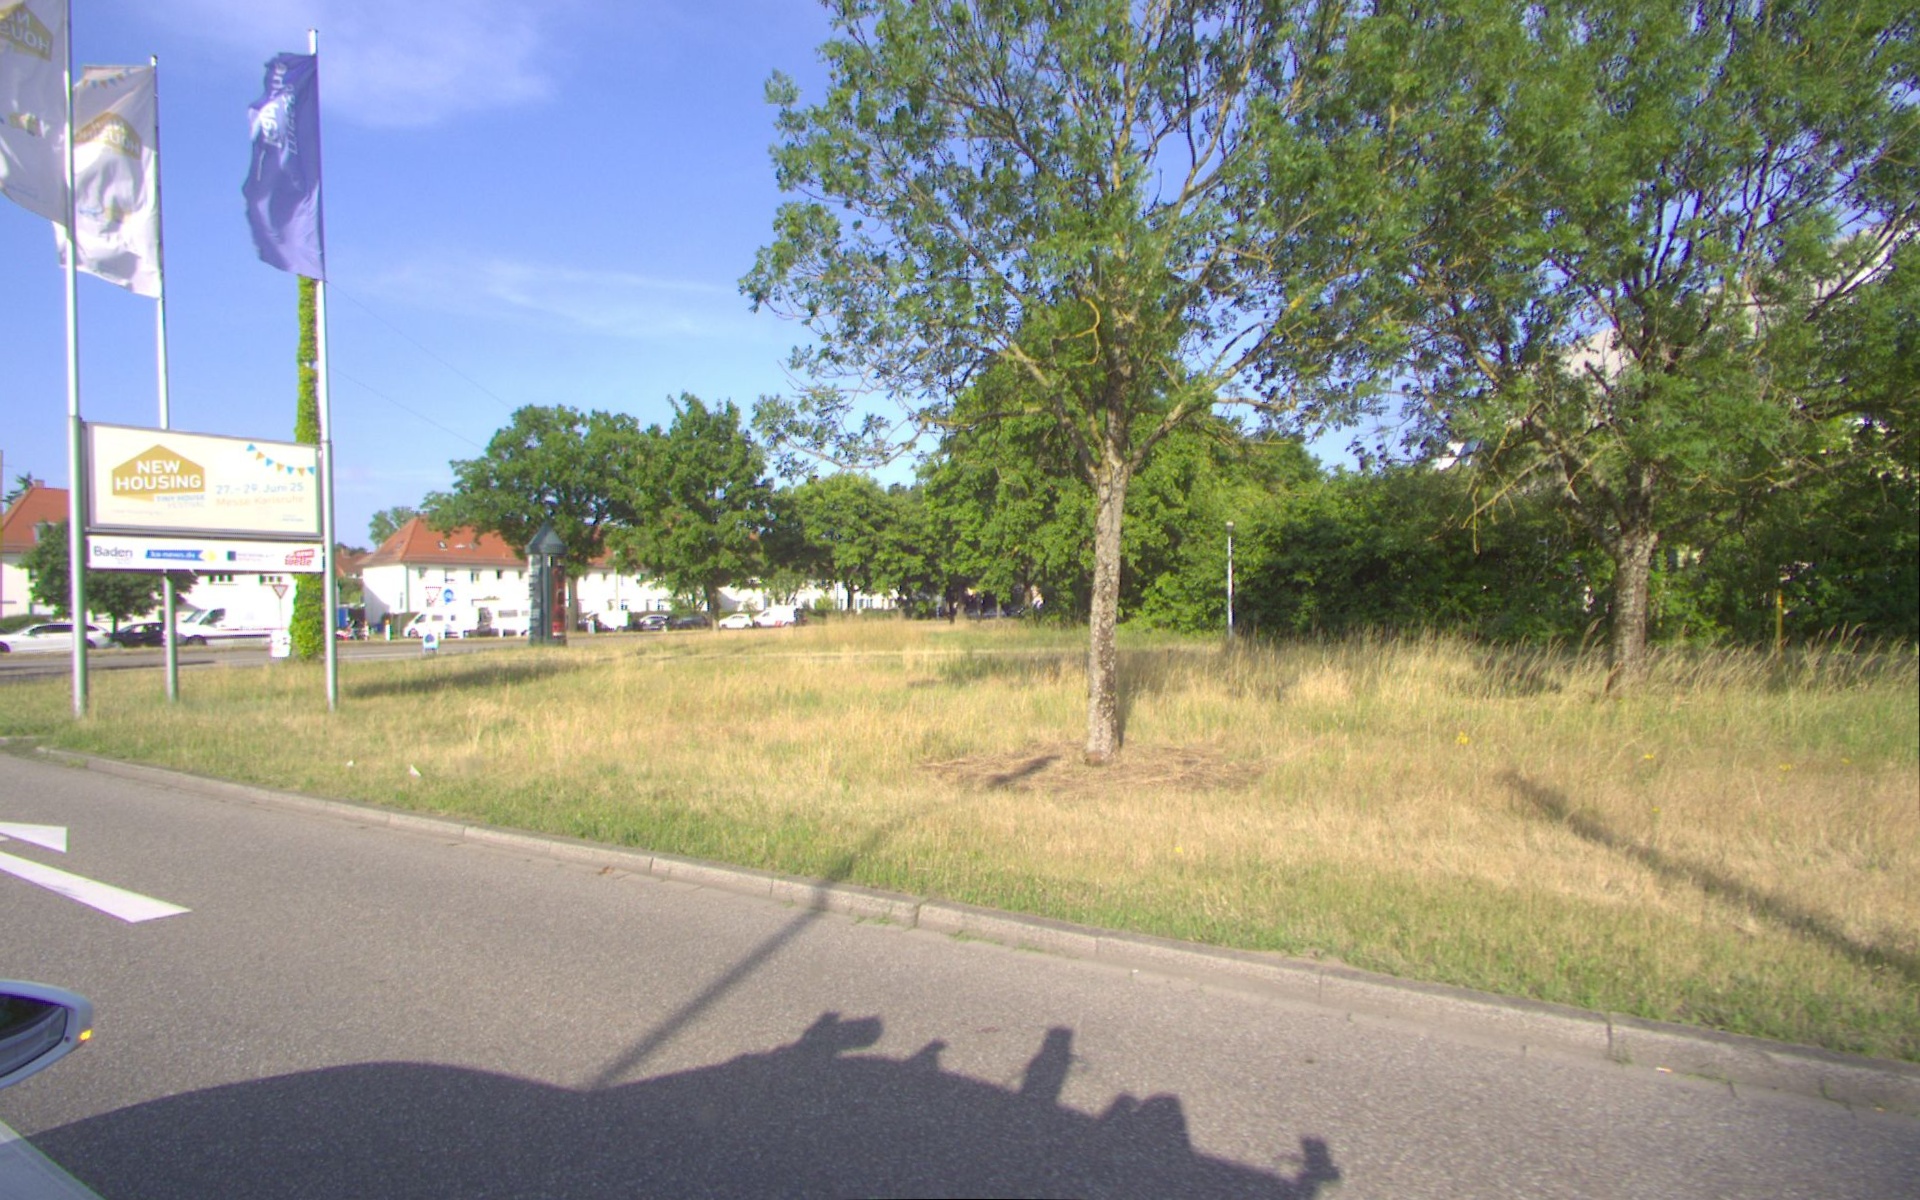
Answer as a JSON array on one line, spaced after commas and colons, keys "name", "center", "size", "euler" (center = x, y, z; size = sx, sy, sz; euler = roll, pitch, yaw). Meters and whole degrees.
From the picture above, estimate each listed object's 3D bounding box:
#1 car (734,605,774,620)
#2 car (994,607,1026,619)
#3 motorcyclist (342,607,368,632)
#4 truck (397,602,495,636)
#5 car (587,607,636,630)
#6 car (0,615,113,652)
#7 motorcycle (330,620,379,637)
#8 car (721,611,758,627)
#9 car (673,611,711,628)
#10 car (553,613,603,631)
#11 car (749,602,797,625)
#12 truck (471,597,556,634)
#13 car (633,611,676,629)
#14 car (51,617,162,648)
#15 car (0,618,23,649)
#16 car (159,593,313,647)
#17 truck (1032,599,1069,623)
[{"name": "car", "center": [-25.439, 1.523, 123.688], "size": [4.913, 1.742, 1.988], "euler": [-1, 0, 35]}, {"name": "car", "center": [7.227, 1.899, 145.032], "size": [4.454, 1.746, 1.999], "euler": [-1, 0, -8]}, {"name": "motorcyclist", "center": [-33.591, 1.096, 55.578], "size": [0.670, 1.369, 1.062], "euler": [0, 0, 34]}, {"name": "truck", "center": [-38.953, 1.449, 76.007], "size": [6.233, 2.557, 2.277], "euler": [0, 0, 1]}, {"name": "car", "center": [-31.076, 1.673, 89.432], "size": [3.836, 1.945, 1.895], "euler": [-1, 0, -11]}, {"name": "car", "center": [-41.804, 1.509, 45.252], "size": [1.816, 1.583, 5.078], "euler": [-1, 0, 36]}, {"name": "motorcycle", "center": [-33.588, 1.563, 55.587], "size": [0.681, 0.878, 2.265], "euler": [-1, 0, 34]}, {"name": "car", "center": [-22.100, 1.917, 100.523], "size": [3.367, 1.534, 1.895], "euler": [-1, 0, -7]}, {"name": "car", "center": [-26.067, 1.910, 97.475], "size": [3.367, 1.534, 1.895], "euler": [-1, 0, -7]}, {"name": "car", "center": [-33.049, 1.906, 86.783], "size": [3.838, 1.475, 1.894], "euler": [-1, 0, -14]}, {"name": "car", "center": [-19.700, 1.434, 105.531], "size": [4.886, 2.261, 1.998], "euler": [-1, 0, -10]}, {"name": "truck", "center": [-36.177, 1.271, 81.237], "size": [5.965, 2.892, 1.894], "euler": [-1, 0, -11]}, {"name": "car", "center": [-28.117, 1.848, 92.208], "size": [3.432, 1.534, 1.895], "euler": [-1, 0, -7]}, {"name": "car", "center": [-42.572, 1.596, 50.016], "size": [1.693, 1.472, 3.974], "euler": [-1, 0, 36]}, {"name": "car", "center": [-46.000, 1.580, 45.458], "size": [1.693, 1.430, 4.808], "euler": [-1, 0, 36]}, {"name": "car", "center": [-37.274, 1.009, 51.758], "size": [1.974, 2.617, 6.189], "euler": [-1, 0, 35]}, {"name": "truck", "center": [14.036, 1.686, 154.975], "size": [5.405, 3.510, 1.997], "euler": [-1, 0, -15]}]
